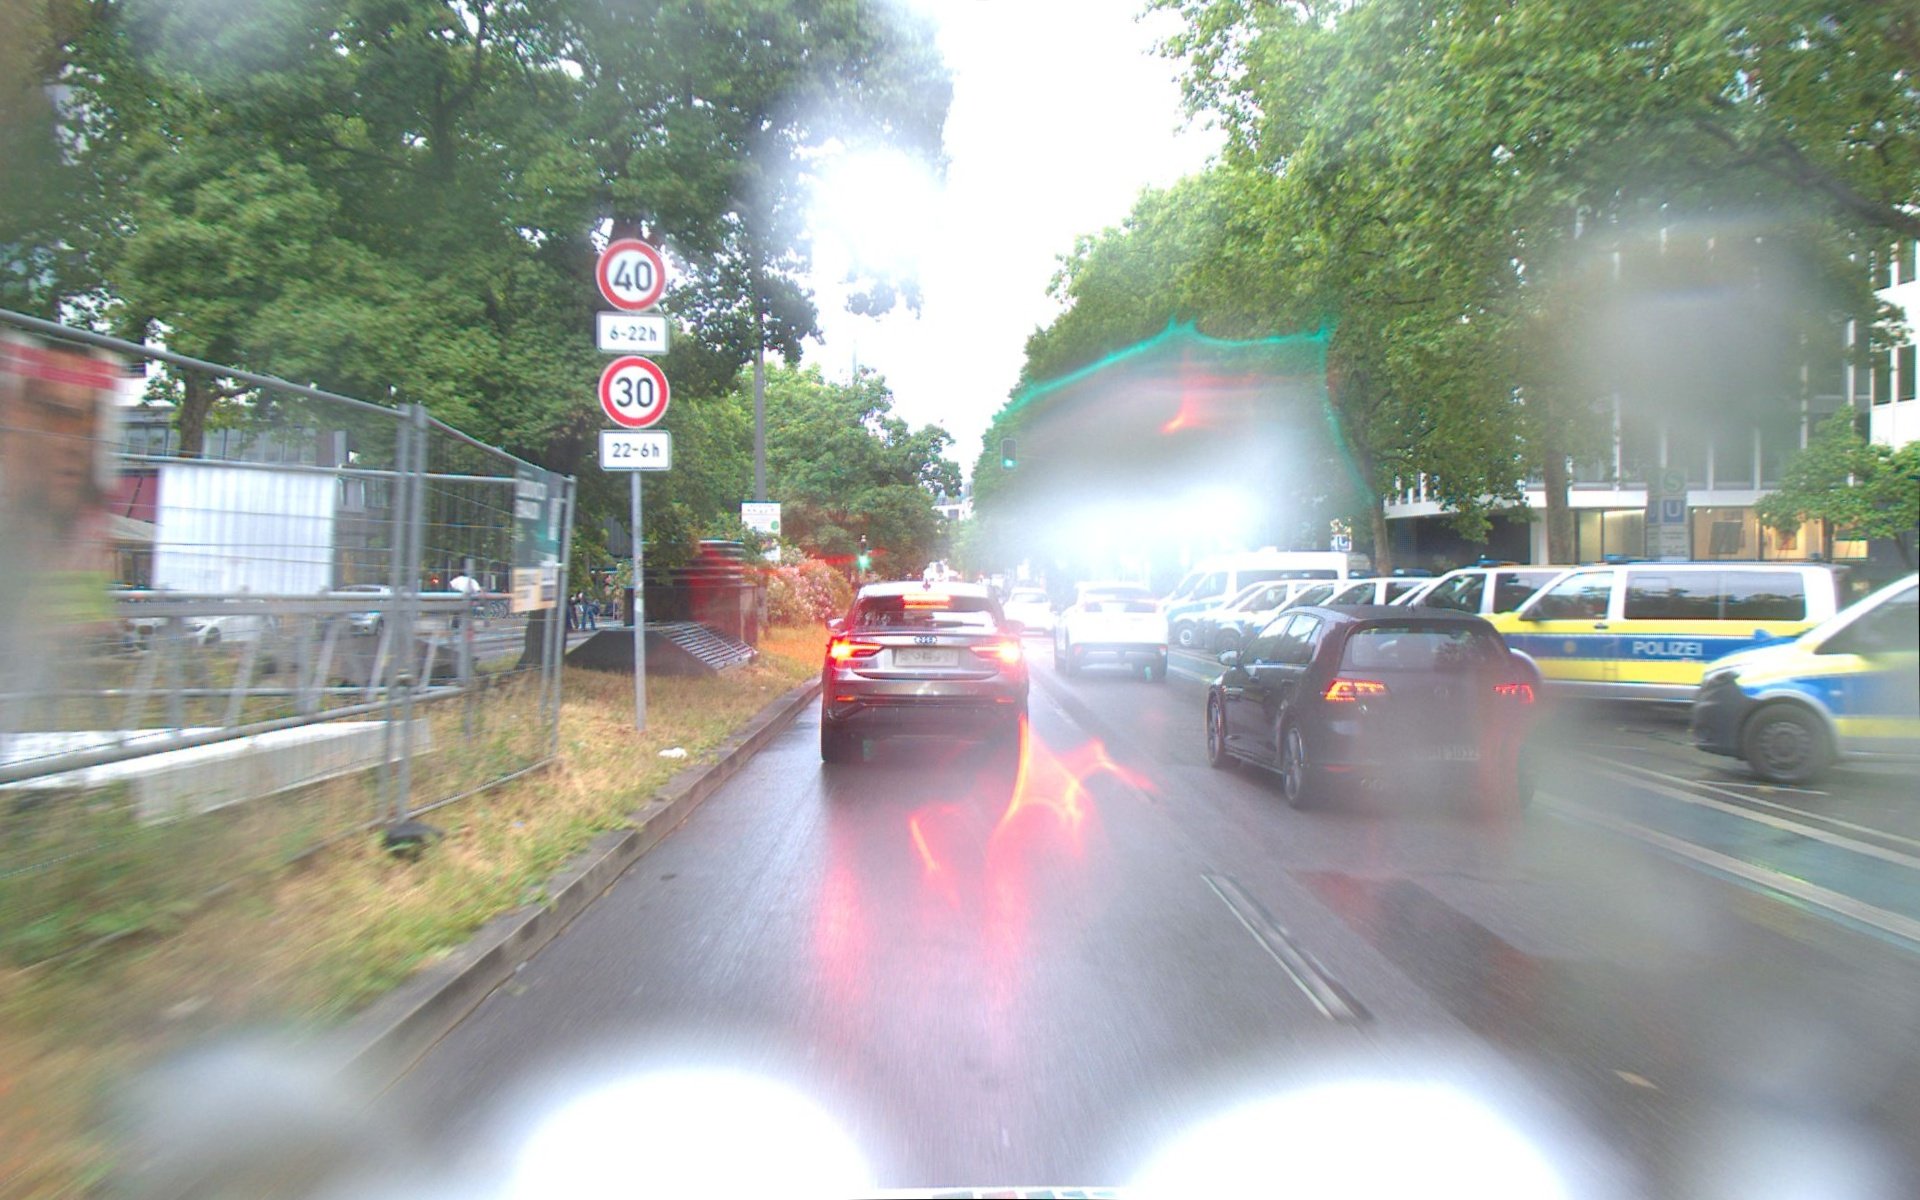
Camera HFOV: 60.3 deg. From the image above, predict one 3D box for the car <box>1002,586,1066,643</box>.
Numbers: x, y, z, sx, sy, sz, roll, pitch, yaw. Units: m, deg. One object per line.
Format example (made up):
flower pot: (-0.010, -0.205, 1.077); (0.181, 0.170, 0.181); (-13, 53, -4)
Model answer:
car: (2.446, 0.453, 55.587); (1.953, 1.780, 4.000); (0, 1, 0)

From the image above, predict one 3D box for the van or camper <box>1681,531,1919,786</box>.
van or camper: (8.885, 0.488, 13.758); (4.987, 2.054, 1.989); (2, 1, 36)

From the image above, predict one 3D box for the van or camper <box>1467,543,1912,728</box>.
van or camper: (8.906, 0.371, 20.387); (4.758, 2.033, 1.861); (1, 0, 36)

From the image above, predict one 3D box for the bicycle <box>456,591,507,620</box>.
bicycle: (-18.551, 0.203, 64.096); (1.810, 1.117, 0.613); (0, 0, -9)

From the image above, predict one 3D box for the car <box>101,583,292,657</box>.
car: (-16.149, 0.383, 35.254); (1.953, 1.394, 4.539); (2, 1, -1)

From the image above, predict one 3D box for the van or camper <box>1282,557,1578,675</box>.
van or camper: (8.838, 0.254, 31.314); (5.008, 2.060, 2.097); (0, 1, 37)

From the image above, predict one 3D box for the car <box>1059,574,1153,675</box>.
car: (2.594, 0.392, 29.856); (1.404, 1.714, 2.979); (-1, 1, 0)

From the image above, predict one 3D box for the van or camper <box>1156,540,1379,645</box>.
van or camper: (8.344, -0.207, 45.172); (5.693, 2.727, 1.993); (0, 0, 35)

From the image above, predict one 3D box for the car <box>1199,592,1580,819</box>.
car: (3.142, 0.684, 12.955); (1.730, 1.437, 3.997); (-1, 1, -4)

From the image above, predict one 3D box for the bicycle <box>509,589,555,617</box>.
bicycle: (-17.977, 0.116, 69.522); (1.809, 1.156, 0.565); (-1, 1, -7)

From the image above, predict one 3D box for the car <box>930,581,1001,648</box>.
car: (0.094, 0.323, 41.475); (1.686, 1.605, 3.961); (0, 1, -1)

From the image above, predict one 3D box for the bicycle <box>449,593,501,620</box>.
bicycle: (-18.529, 0.239, 63.191); (1.808, 0.996, 0.565); (0, 0, -4)

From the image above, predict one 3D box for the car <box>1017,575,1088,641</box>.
car: (2.591, 0.196, 47.063); (1.785, 1.780, 4.000); (0, 1, 0)

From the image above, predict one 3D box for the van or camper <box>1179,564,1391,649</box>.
van or camper: (8.200, 0.176, 41.912); (4.915, 2.049, 1.993); (0, -1, 35)

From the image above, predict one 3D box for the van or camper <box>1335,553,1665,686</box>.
van or camper: (8.939, 0.292, 27.527); (4.917, 2.030, 1.995); (0, 0, 32)

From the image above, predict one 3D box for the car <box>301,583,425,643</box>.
car: (-16.429, 0.308, 45.777); (1.954, 1.535, 4.516); (-1, 1, -3)

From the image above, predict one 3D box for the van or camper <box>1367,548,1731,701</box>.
van or camper: (8.590, 0.314, 24.304); (4.698, 2.046, 1.993); (0, 0, 36)

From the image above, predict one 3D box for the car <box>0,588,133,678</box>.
car: (-16.148, 0.505, 28.281); (1.788, 1.419, 4.483); (0, 1, 0)

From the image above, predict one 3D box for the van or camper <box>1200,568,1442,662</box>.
van or camper: (8.305, 0.306, 38.261); (5.102, 2.027, 1.994); (1, 0, 34)

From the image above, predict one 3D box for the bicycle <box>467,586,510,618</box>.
bicycle: (-18.462, 0.074, 64.779); (1.587, 1.263, 0.508); (0, 0, -8)

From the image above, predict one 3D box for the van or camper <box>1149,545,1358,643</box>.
van or camper: (8.506, -0.191, 48.304); (5.702, 2.724, 2.138); (0, 0, 37)

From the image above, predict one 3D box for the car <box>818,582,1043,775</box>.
car: (-0.215, 0.613, 15.707); (1.825, 1.559, 4.527); (0, 1, 1)
